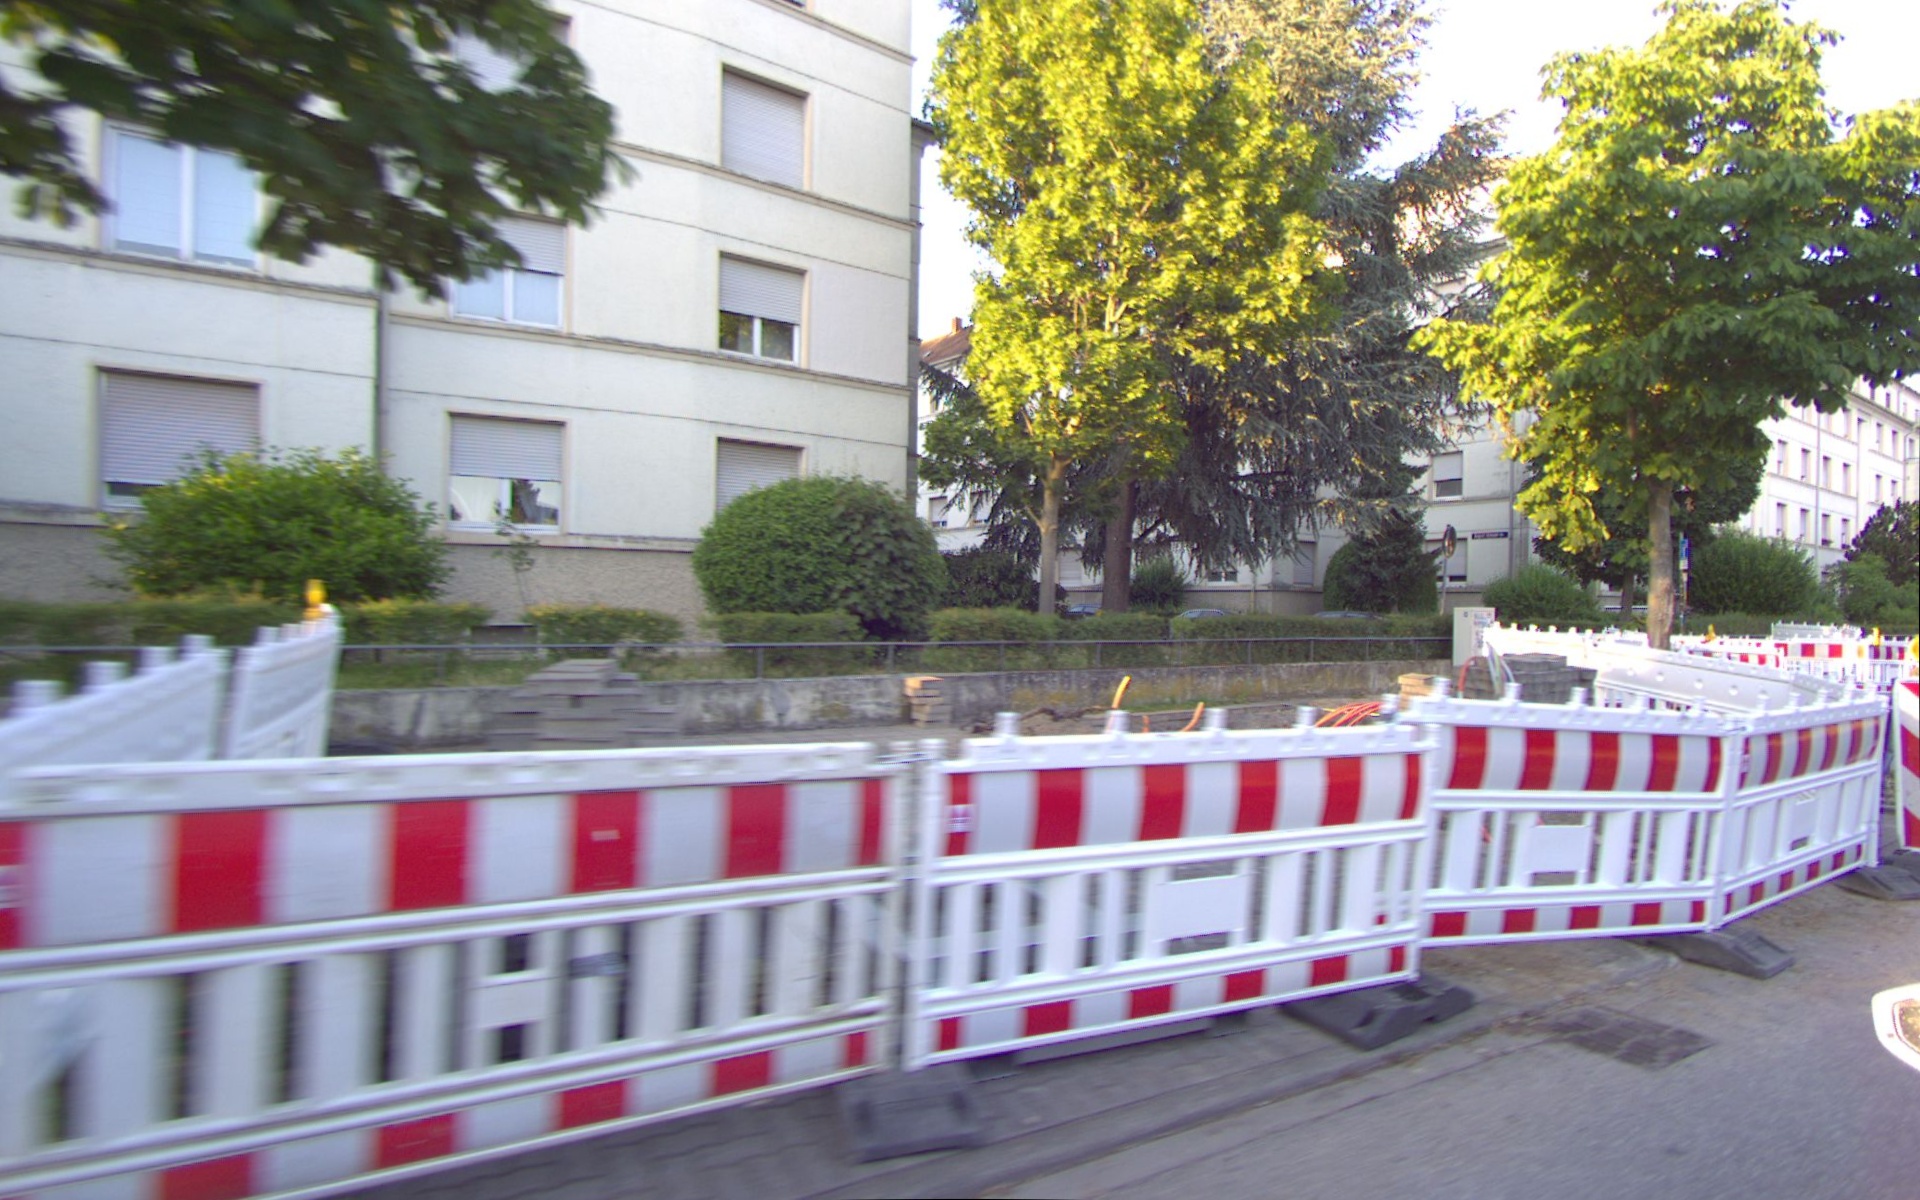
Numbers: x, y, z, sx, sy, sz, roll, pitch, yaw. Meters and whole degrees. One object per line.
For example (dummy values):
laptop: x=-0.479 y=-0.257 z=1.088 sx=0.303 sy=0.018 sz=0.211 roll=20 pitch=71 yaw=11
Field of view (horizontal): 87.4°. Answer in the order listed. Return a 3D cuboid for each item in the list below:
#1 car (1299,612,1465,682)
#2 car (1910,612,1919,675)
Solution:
car: x=11.082 y=1.174 z=26.556 sx=1.747 sy=1.611 sz=3.676 roll=0 pitch=1 yaw=-39
car: x=27.105 y=1.177 z=25.590 sx=1.982 sy=1.647 sz=3.957 roll=1 pitch=0 yaw=-37
